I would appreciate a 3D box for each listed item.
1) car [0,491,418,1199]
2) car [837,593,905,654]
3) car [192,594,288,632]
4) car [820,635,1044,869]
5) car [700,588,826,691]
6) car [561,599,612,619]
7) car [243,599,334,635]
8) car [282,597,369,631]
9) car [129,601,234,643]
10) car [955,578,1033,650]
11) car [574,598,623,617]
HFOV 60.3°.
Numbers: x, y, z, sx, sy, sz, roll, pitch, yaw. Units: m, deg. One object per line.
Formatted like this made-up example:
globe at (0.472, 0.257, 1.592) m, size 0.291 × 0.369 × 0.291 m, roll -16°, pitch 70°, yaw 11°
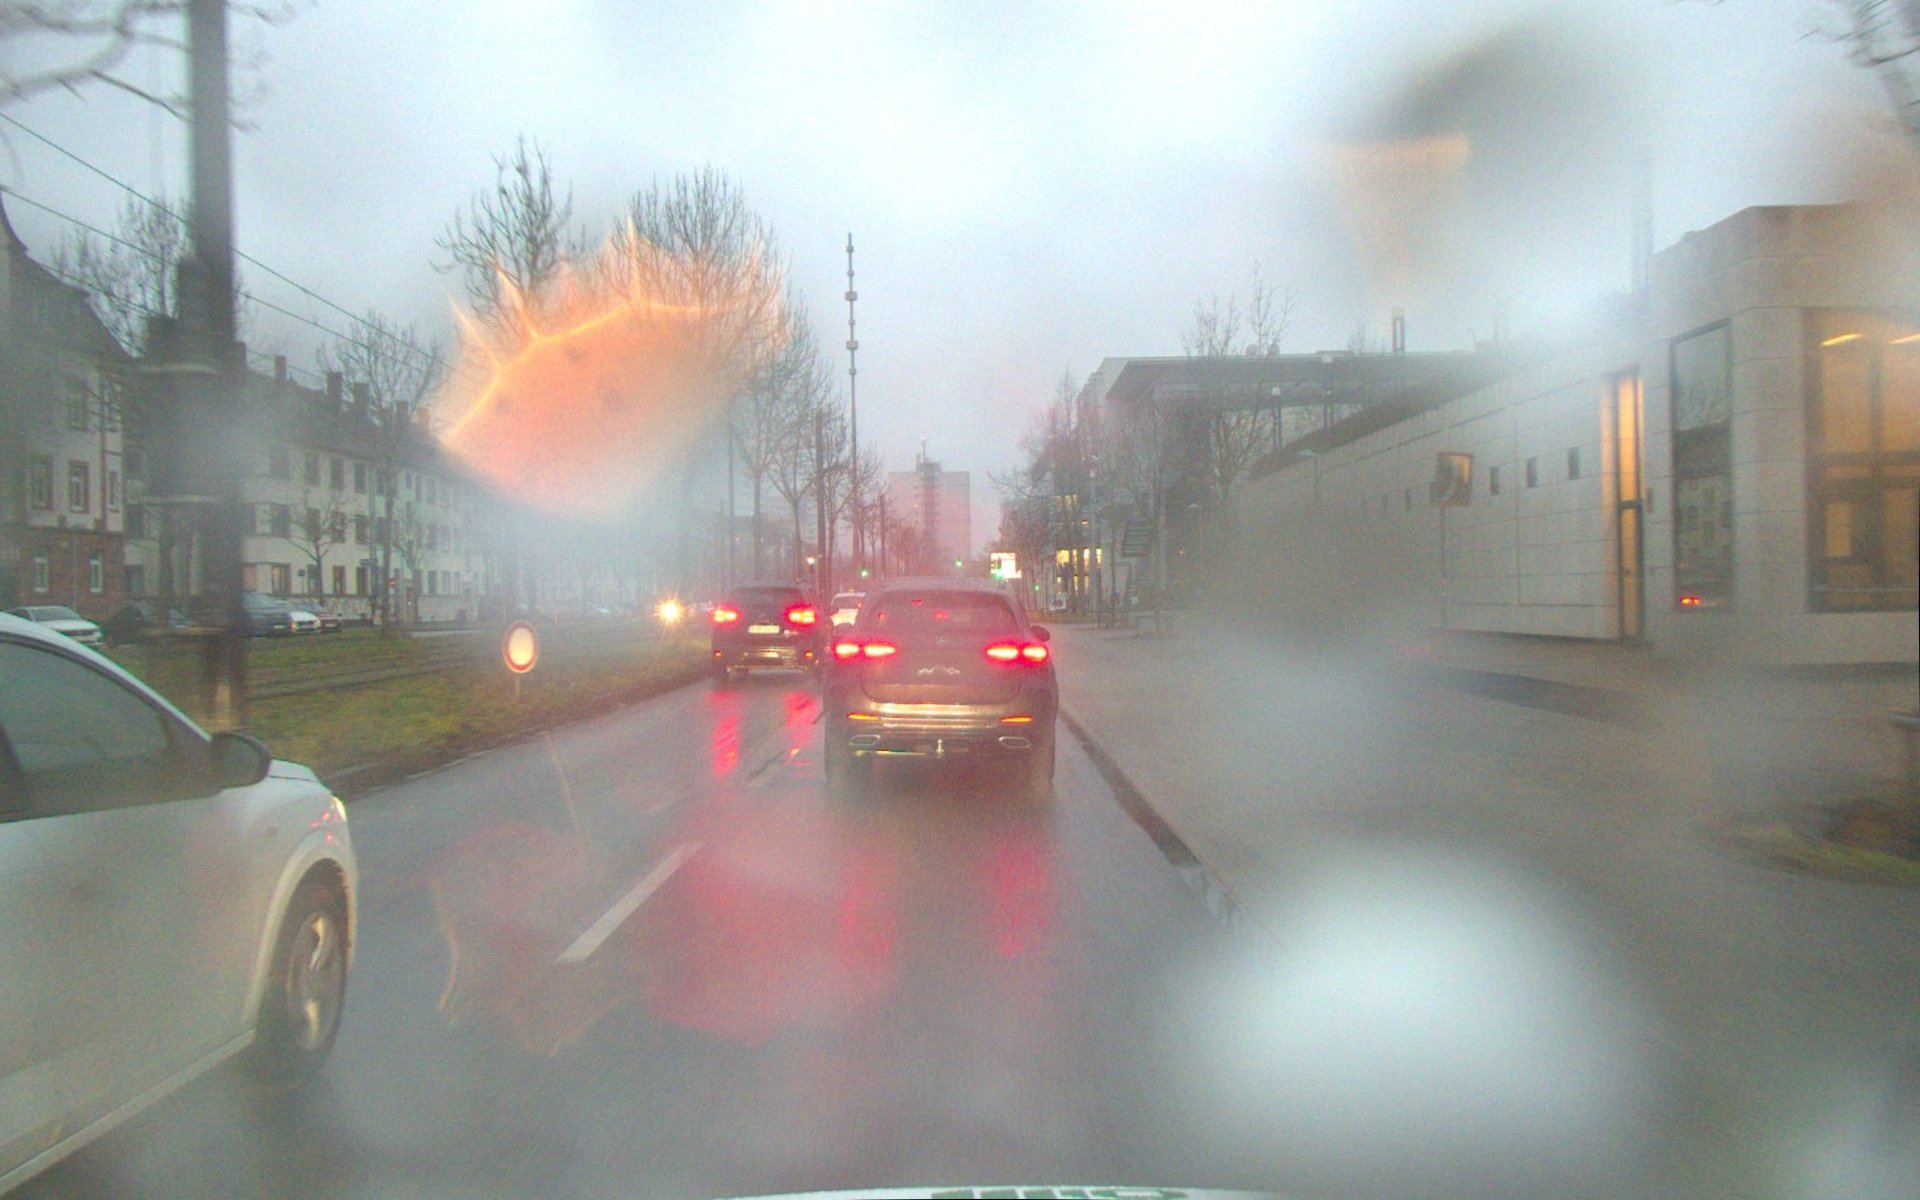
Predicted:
car at (-2.586, 0.616, 3.672) m, size 1.639 × 1.628 × 4.050 m, roll 0°, pitch 0°, yaw -4°
car at (-2.451, 0.627, 46.150) m, size 1.637 × 1.628 × 4.053 m, roll 0°, pitch 0°, yaw 0°
car at (-27.475, 0.483, 63.110) m, size 3.483 × 1.378 × 1.776 m, roll -1°, pitch 0°, yaw 34°
car at (-0.186, 1.158, 14.161) m, size 1.637 × 1.628 × 4.053 m, roll 0°, pitch 0°, yaw 0°
car at (-3.302, 0.628, 28.390) m, size 1.637 × 1.628 × 4.053 m, roll 0°, pitch 0°, yaw 0°
car at (-27.361, 0.683, 121.156) m, size 3.483 × 1.378 × 1.776 m, roll -1°, pitch 0°, yaw 34°
car at (-27.194, 0.708, 66.964) m, size 3.483 × 1.378 × 1.776 m, roll -1°, pitch 0°, yaw 34°
car at (-27.191, 0.588, 70.881) m, size 3.483 × 1.378 × 1.776 m, roll -1°, pitch 0°, yaw 34°
car at (-27.023, 0.759, 57.405) m, size 3.483 × 1.378 × 1.776 m, roll -1°, pitch 0°, yaw 34°
car at (0.876, 0.341, 43.533) m, size 1.952 × 1.774 × 4.000 m, roll -1°, pitch 0°, yaw 1°
car at (-27.866, 0.553, 127.488) m, size 3.483 × 1.378 × 1.776 m, roll -1°, pitch 0°, yaw 34°
